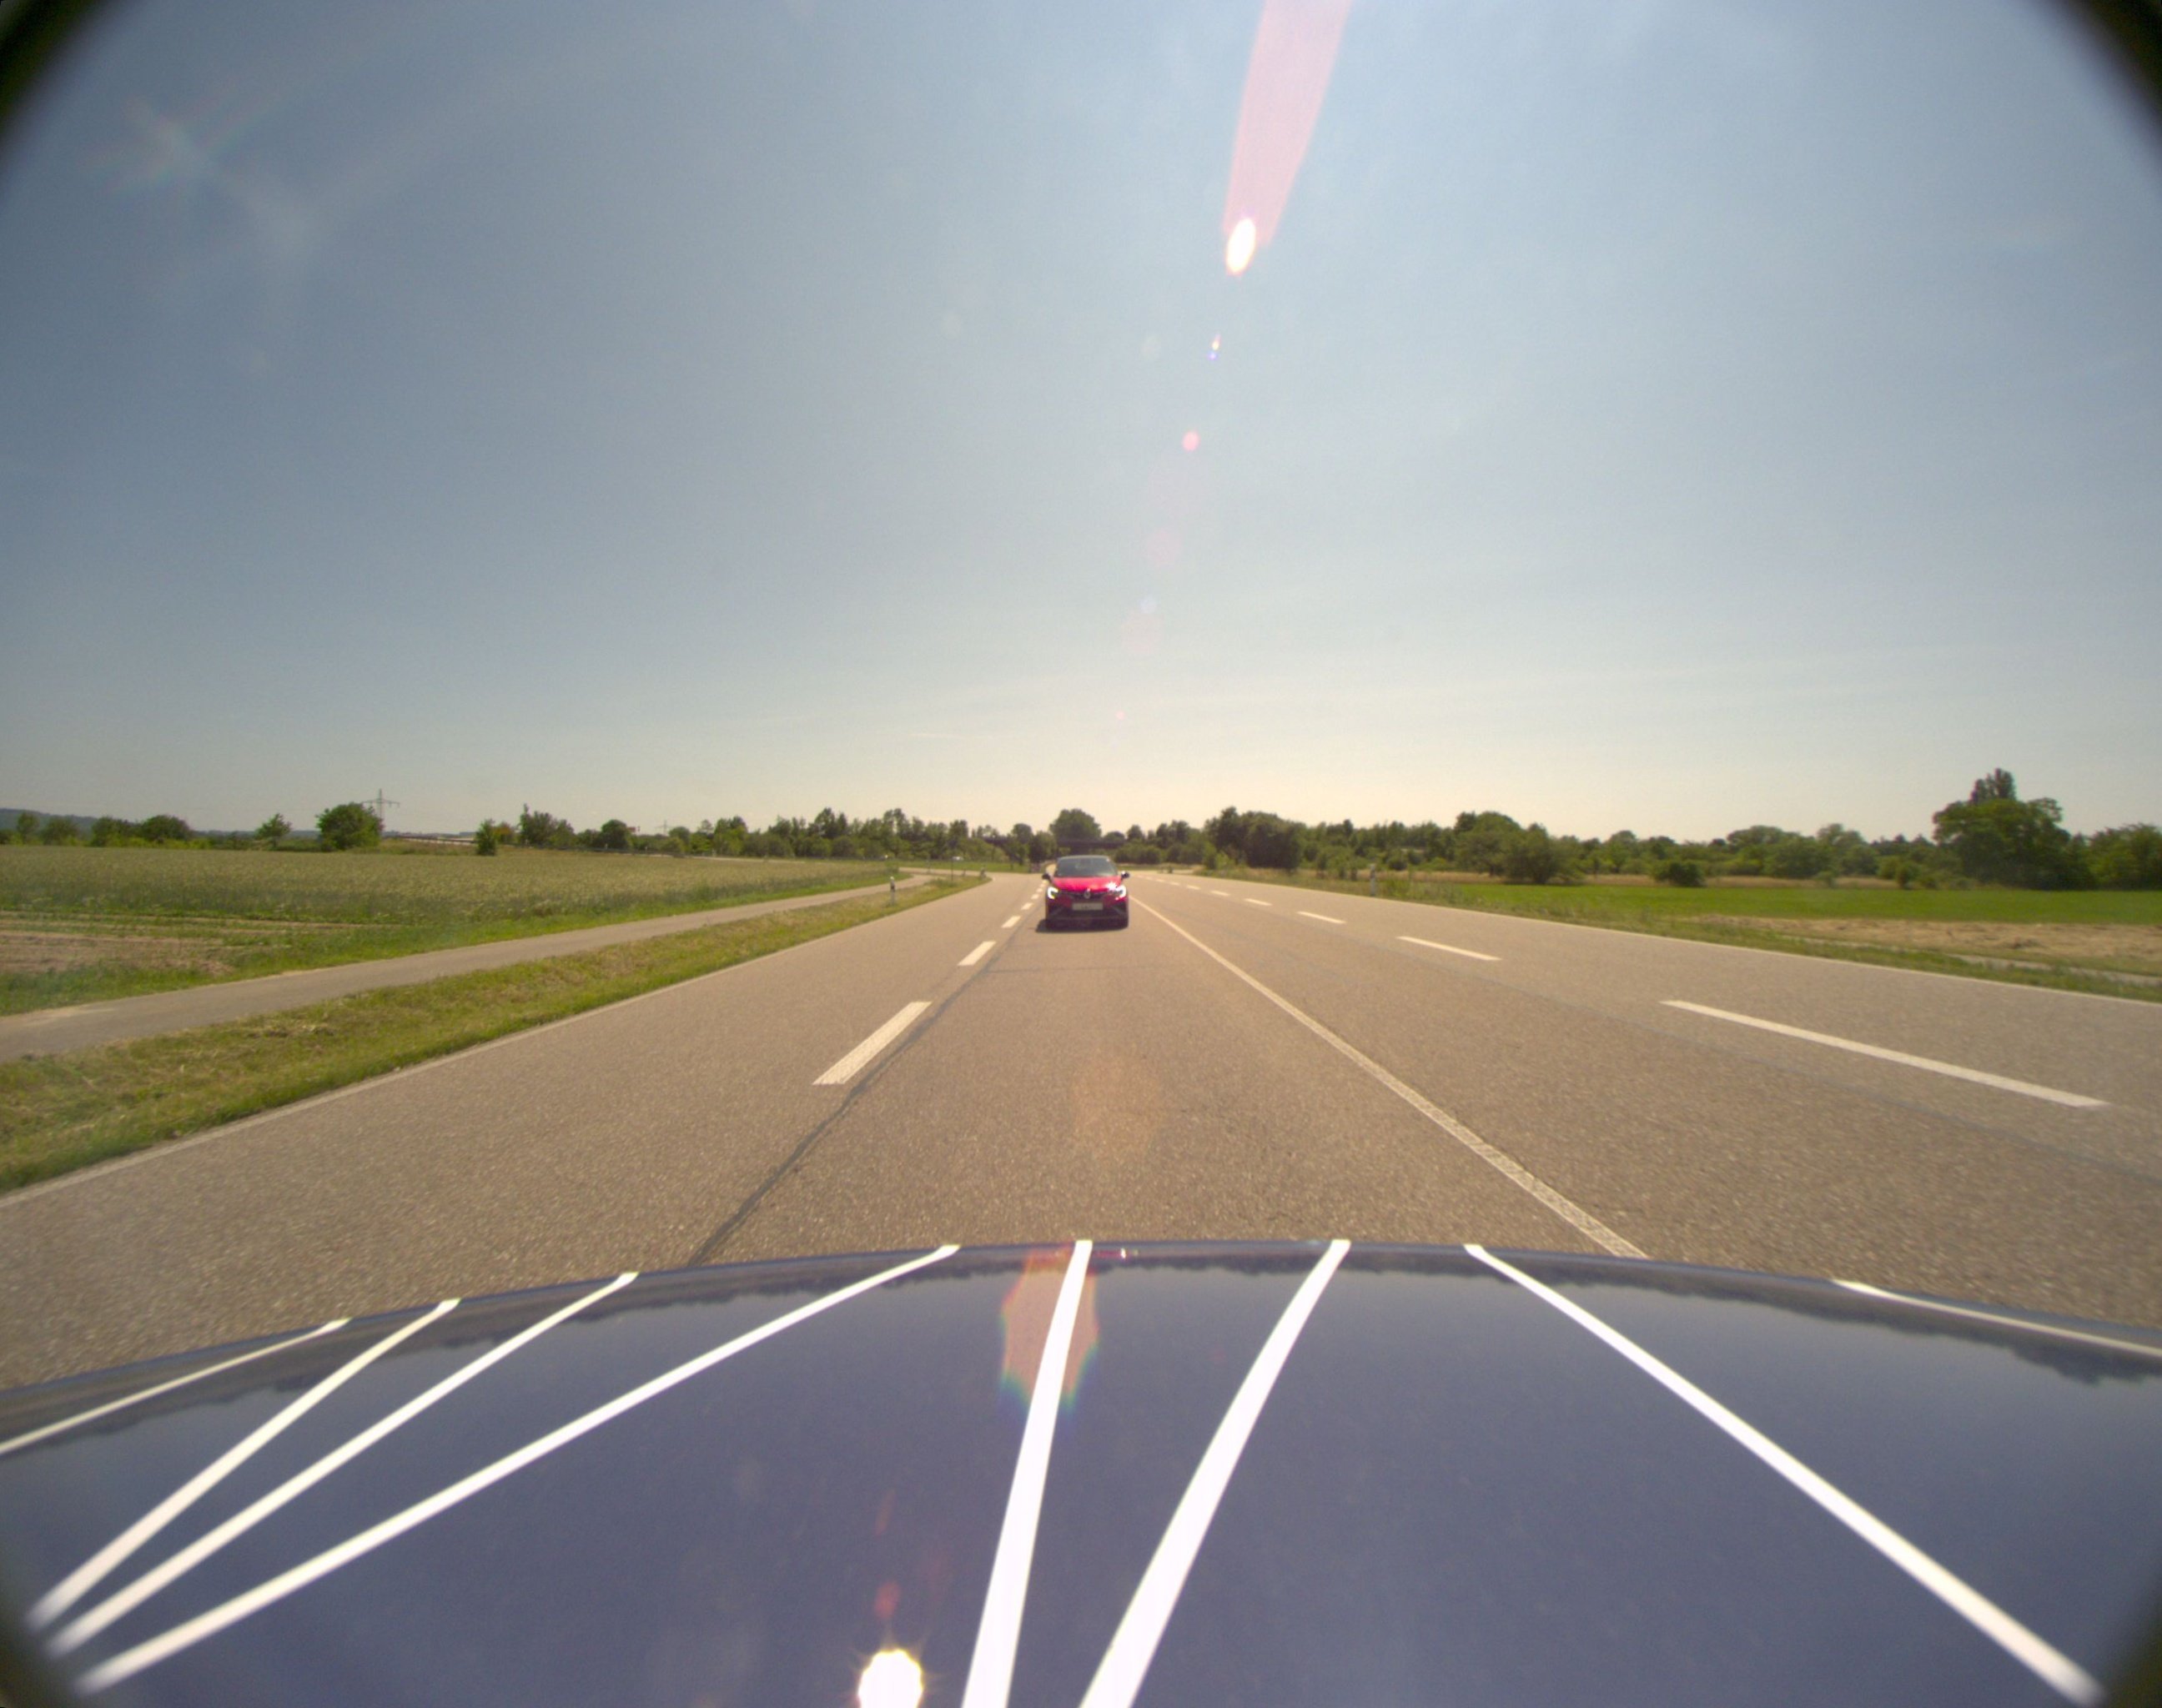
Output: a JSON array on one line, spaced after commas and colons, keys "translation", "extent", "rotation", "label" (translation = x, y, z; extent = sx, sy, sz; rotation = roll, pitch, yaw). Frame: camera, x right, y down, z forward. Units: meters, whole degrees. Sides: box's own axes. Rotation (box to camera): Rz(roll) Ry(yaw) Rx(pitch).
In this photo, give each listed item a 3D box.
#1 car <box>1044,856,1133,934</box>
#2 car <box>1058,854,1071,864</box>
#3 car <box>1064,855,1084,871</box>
[{"translation": [0.197, 0.855, 18.214], "extent": [1.837, 1.587, 4.722], "rotation": [-1, 0, 1], "label": "car"}, {"translation": [-2.794, 0.843, 128.809], "extent": [1.983, 1.587, 5.400], "rotation": [-1, 0, -3], "label": "car"}, {"translation": [-0.740, 0.934, 80.300], "extent": [1.983, 1.587, 5.401], "rotation": [-1, 0, -1], "label": "car"}]
